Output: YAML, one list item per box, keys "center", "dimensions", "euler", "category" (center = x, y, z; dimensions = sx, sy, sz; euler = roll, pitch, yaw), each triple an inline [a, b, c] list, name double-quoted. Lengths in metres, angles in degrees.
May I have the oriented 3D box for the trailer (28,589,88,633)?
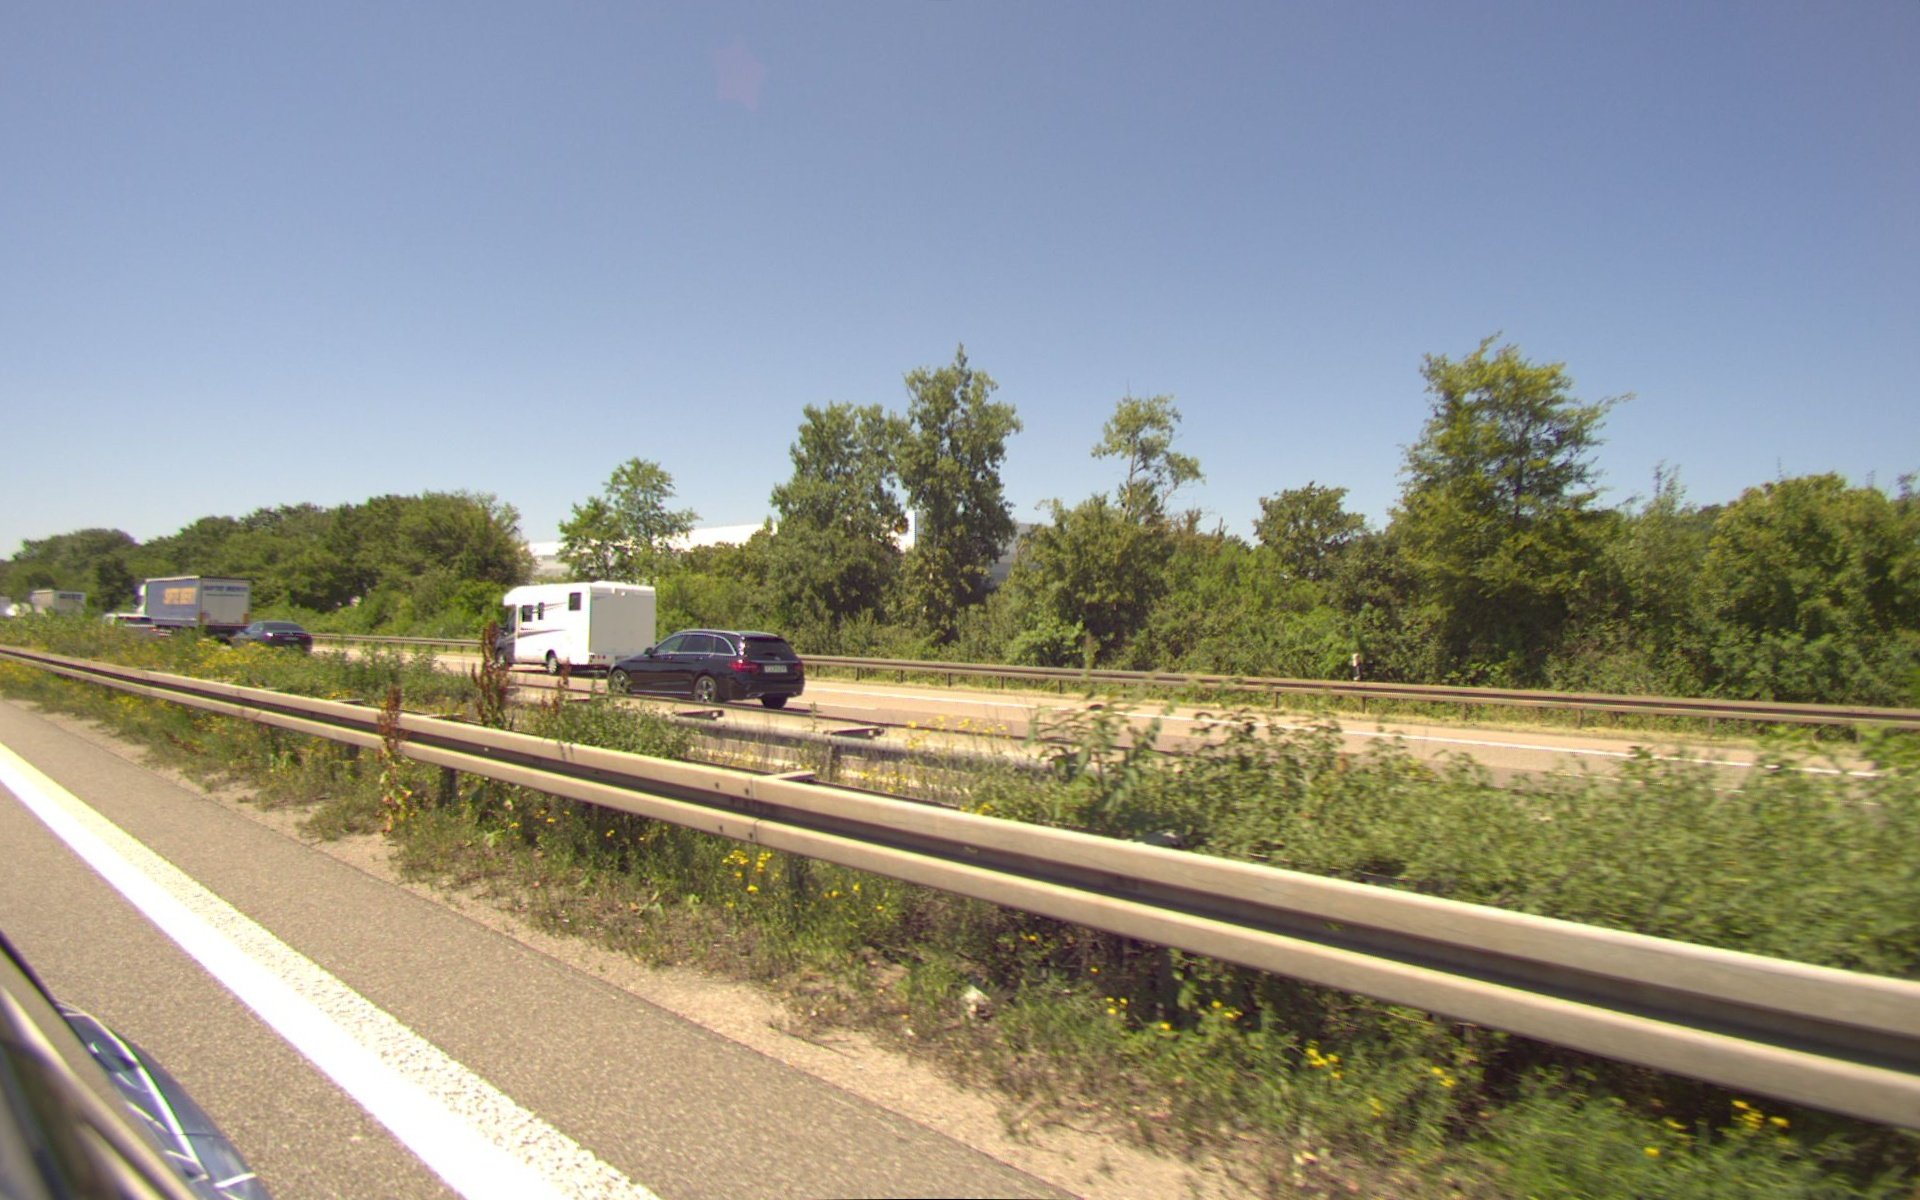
- center: [-91.756, 1.184, 102.849]
  dimensions: [14.048, 4.134, 2.728]
  euler: [-1, -4, 42]
  category: "trailer"

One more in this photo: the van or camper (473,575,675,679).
- center: [-12.568, 0.885, 32.591]
  dimensions: [7.443, 2.992, 2.820]
  euler: [-1, -3, 41]
  category: "van or camper"

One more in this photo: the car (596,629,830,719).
- center: [-4.816, 1.335, 19.380]
  dimensions: [4.749, 1.479, 1.936]
  euler: [-1, -3, 41]
  category: "car"

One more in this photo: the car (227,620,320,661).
- center: [-27.709, 1.604, 40.851]
  dimensions: [3.856, 1.564, 1.802]
  euler: [-1, -2, 35]
  category: "car"

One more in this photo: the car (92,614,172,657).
- center: [-35.288, 1.508, 43.085]
  dimensions: [4.588, 1.627, 1.716]
  euler: [-1, -6, 41]
  category: "car"

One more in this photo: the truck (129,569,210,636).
- center: [-52.657, 0.149, 67.355]
  dimensions: [6.309, 4.243, 2.974]
  euler: [1, -1, 41]
  category: "truck"

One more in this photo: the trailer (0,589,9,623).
- center: [-123.141, 0.730, 128.122]
  dimensions: [14.345, 4.116, 2.710]
  euler: [-1, -3, 43]
  category: "trailer"

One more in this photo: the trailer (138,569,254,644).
- center: [-47.775, 0.261, 63.024]
  dimensions: [13.731, 4.243, 2.946]
  euler: [1, -1, 42]
  category: "trailer"
